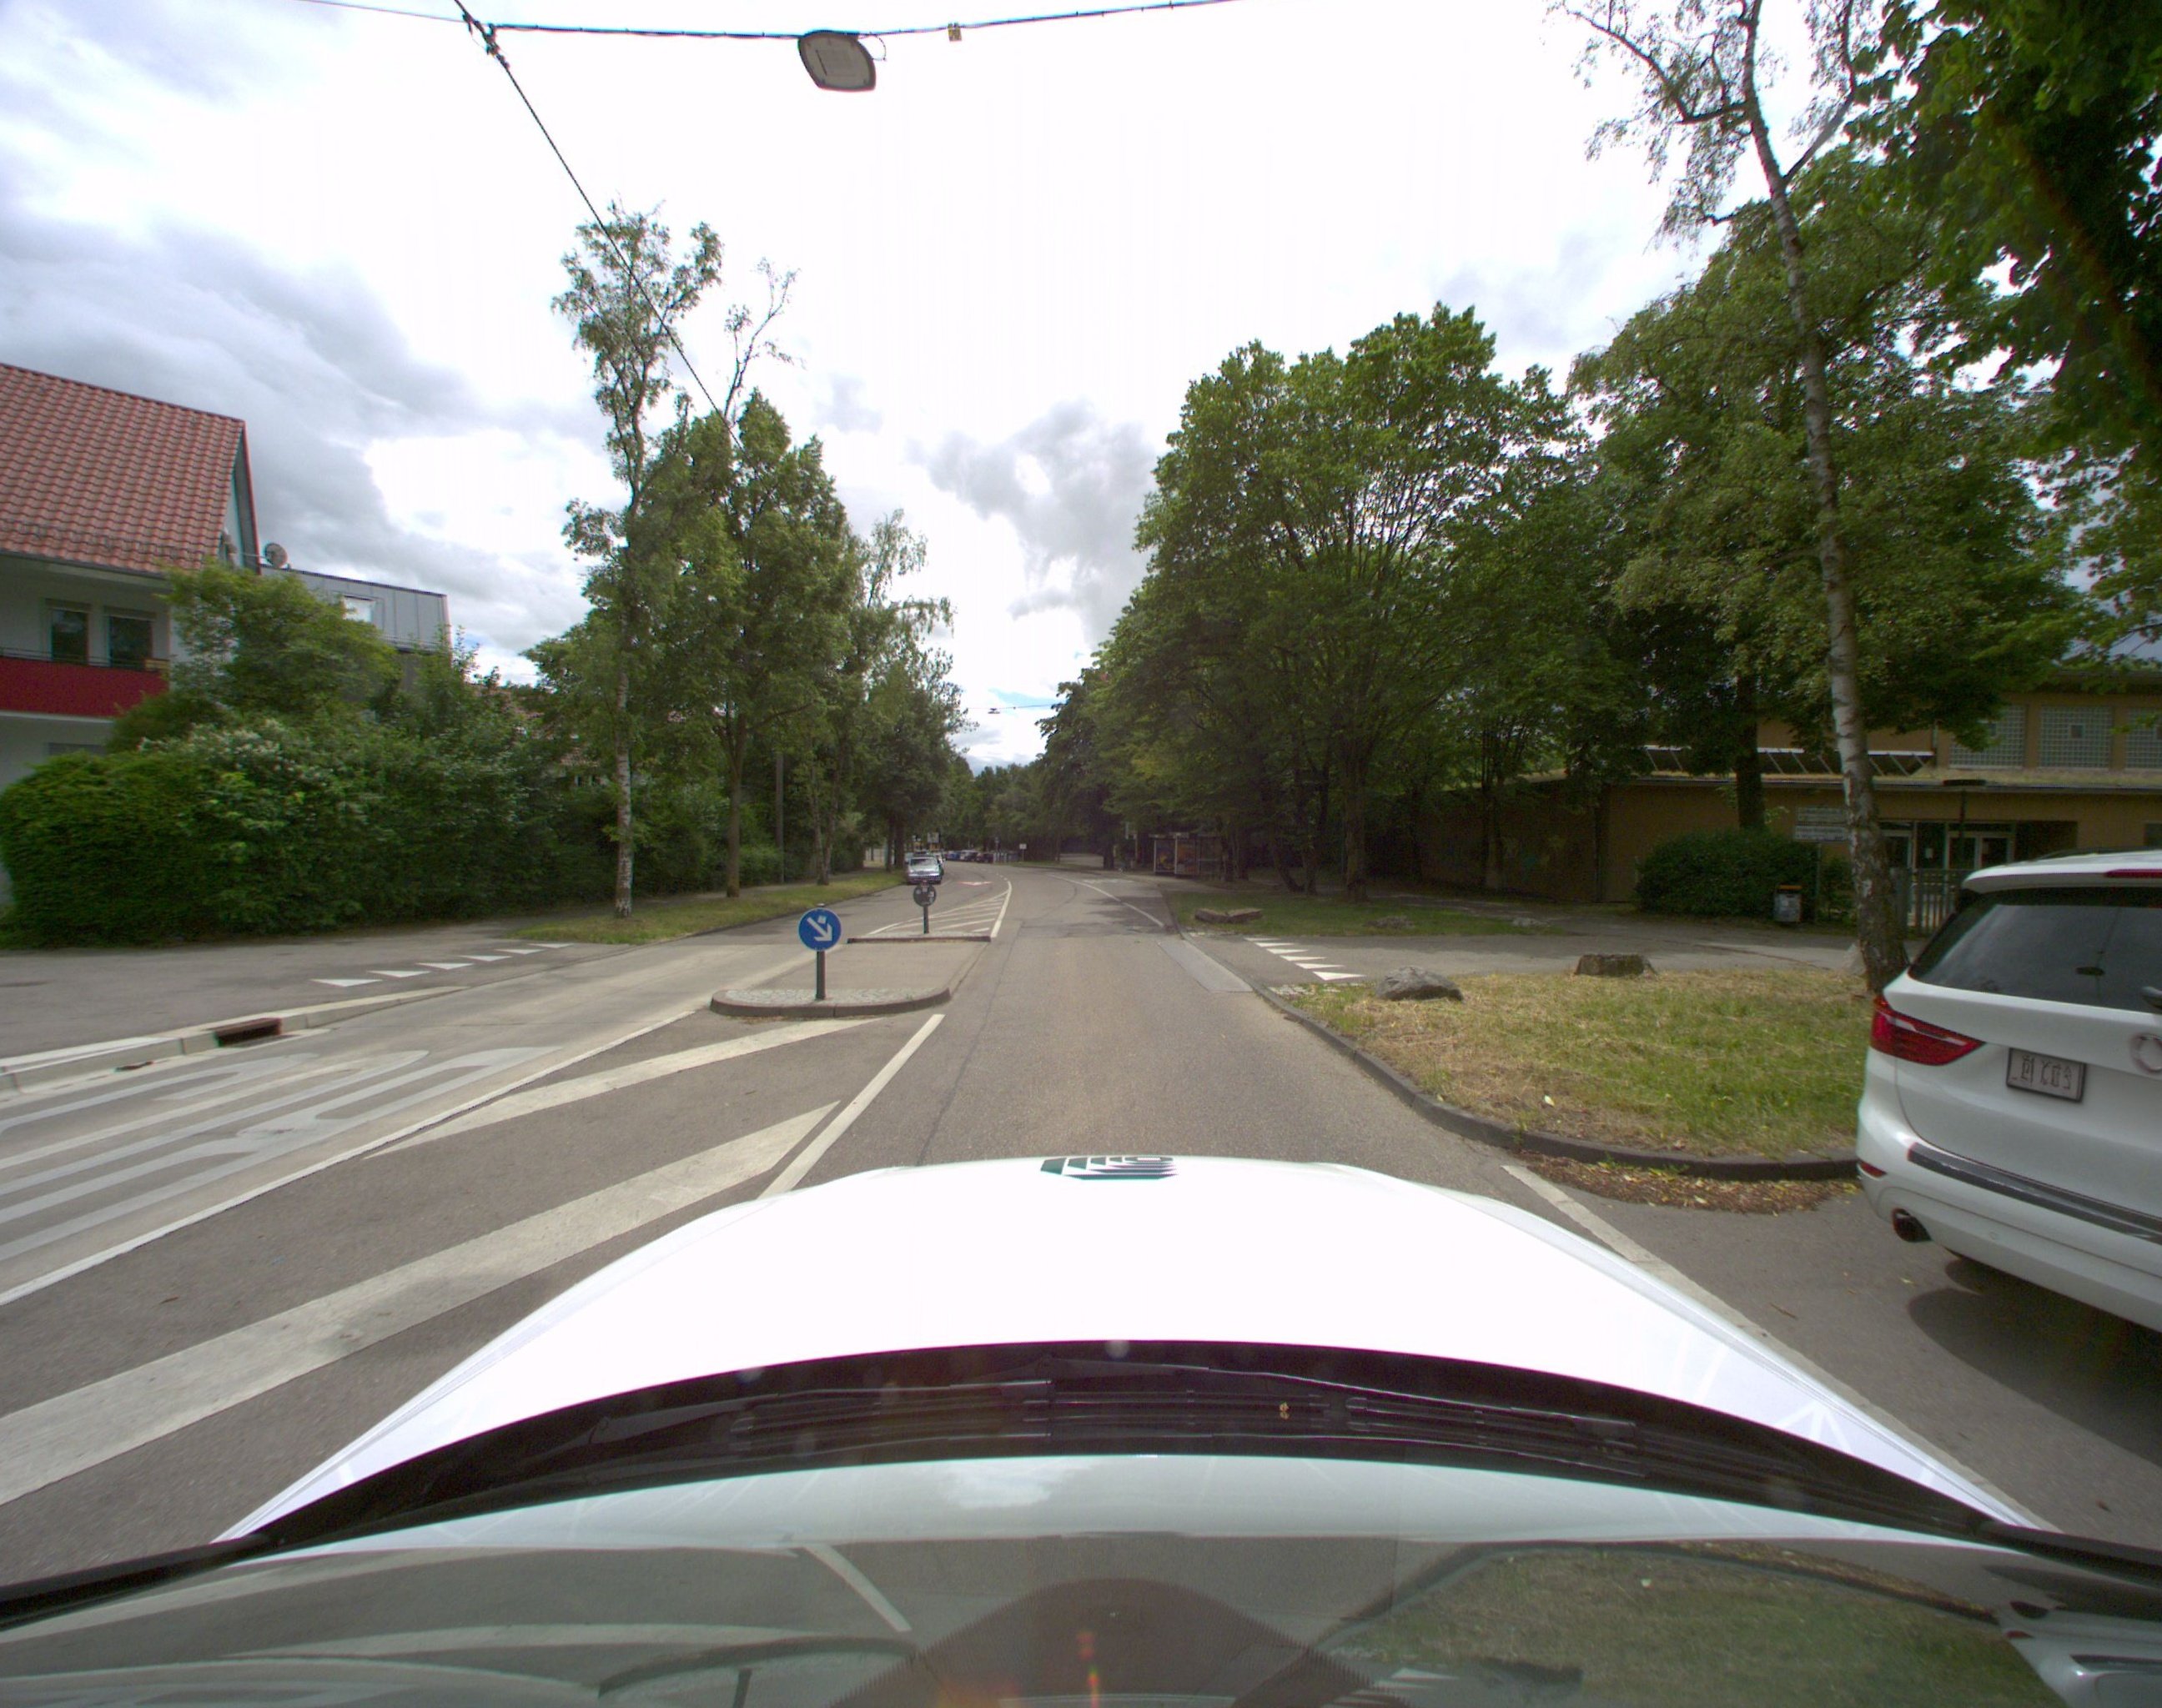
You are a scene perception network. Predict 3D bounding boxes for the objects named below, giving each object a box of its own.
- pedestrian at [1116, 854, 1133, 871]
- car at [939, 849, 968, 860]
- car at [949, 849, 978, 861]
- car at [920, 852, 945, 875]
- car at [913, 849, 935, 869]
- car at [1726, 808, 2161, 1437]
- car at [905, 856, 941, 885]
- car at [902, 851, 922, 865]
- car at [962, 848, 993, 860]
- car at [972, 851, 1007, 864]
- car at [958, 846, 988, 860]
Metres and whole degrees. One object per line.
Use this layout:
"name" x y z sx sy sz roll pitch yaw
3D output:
"pedestrian" 3.095 0.615 57.559 1.064 1.182 0.577 -1 0 -13
"car" -19.368 0.140 123.779 3.850 1.528 1.726 3 -2 -40
"car" -17.282 0.169 119.403 3.850 1.528 1.726 3 -2 -40
"car" -11.000 0.659 60.488 1.735 1.578 4.127 -1 0 -10
"car" -15.722 0.498 81.388 1.861 1.909 5.057 -1 0 -15
"car" 4.900 0.736 2.675 4.468 1.585 1.900 2 0 -10
"car" -8.373 0.814 42.936 1.737 1.416 4.452 -1 0 -13
"car" -20.169 0.504 96.994 1.810 1.563 4.239 -4 1 -19
"car" -14.291 0.053 112.504 3.850 1.468 1.726 3 -1 -40
"car" -11.745 0.440 104.619 4.020 1.414 2.034 3 0 -40
"car" -15.239 -0.119 115.056 3.850 1.720 1.856 3 -2 -40
